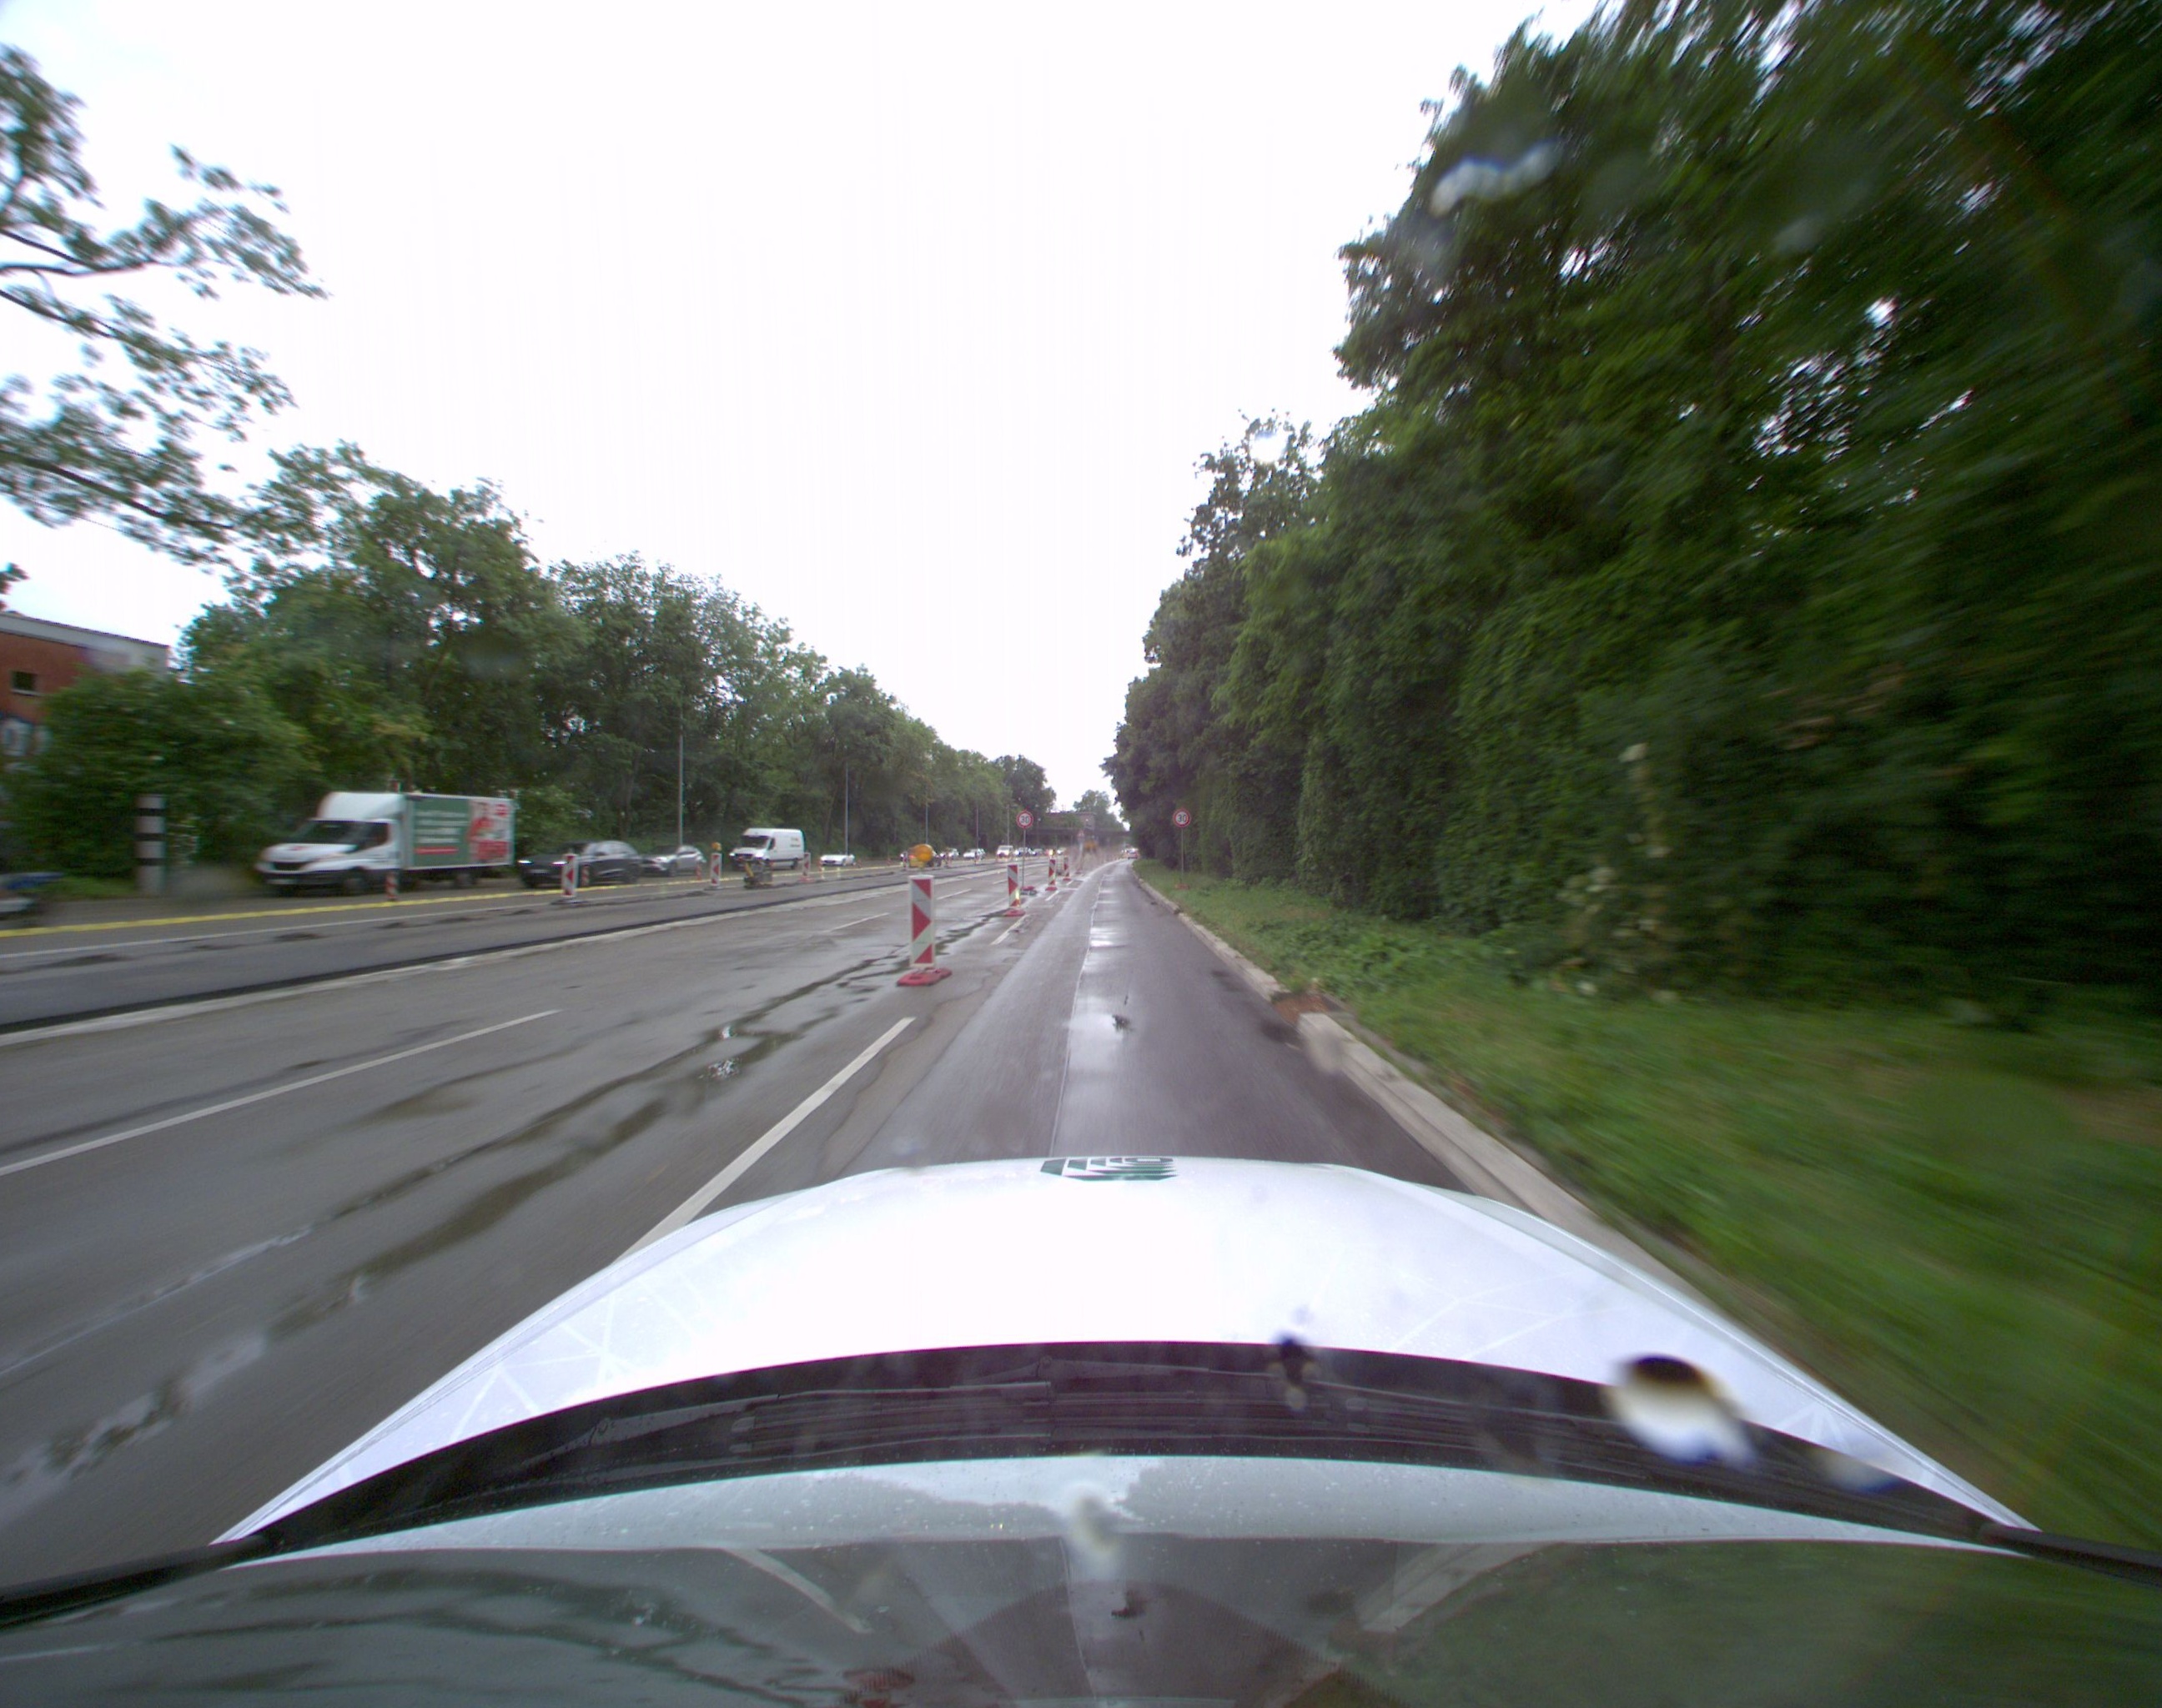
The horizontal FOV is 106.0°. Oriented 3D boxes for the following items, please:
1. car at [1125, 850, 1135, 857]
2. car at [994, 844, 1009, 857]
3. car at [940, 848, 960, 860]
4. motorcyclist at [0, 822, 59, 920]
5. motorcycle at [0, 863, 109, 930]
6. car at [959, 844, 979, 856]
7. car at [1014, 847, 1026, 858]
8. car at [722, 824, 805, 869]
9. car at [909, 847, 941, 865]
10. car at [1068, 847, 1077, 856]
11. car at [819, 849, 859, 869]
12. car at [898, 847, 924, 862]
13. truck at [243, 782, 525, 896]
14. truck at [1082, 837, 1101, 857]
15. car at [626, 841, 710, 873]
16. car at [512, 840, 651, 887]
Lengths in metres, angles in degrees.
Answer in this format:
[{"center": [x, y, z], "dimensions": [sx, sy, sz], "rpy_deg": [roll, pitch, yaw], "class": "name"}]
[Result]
[{"center": [9.438, -0.137, 156.273], "dimensions": [1.691, 1.336, 3.493], "rpy_deg": [-2, 0, 2], "class": "car"}, {"center": [-11.986, -0.546, 123.444], "dimensions": [1.663, 1.808, 4.323], "rpy_deg": [0, 0, 3], "class": "car"}, {"center": [-16.409, -0.054, 101.917], "dimensions": [1.663, 1.485, 4.052], "rpy_deg": [0, 0, 3], "class": "car"}, {"center": [-17.601, 0.263, 13.213], "dimensions": [0.825, 1.564, 0.927], "rpy_deg": [1, 0, 1], "class": "motorcyclist"}, {"center": [-17.608, 0.688, 13.189], "dimensions": [0.825, 1.014, 2.368], "rpy_deg": [1, 0, 2], "class": "motorcycle"}, {"center": [-13.620, -0.510, 99.234], "dimensions": [1.663, 1.485, 4.323], "rpy_deg": [0, 0, 3], "class": "car"}, {"center": [-10.553, -0.322, 141.441], "dimensions": [1.663, 1.808, 4.323], "rpy_deg": [0, 0, 3], "class": "car"}, {"center": [-19.246, -0.451, 49.807], "dimensions": [2.091, 2.579, 6.859], "rpy_deg": [0, 0, 3], "class": "car"}, {"center": [-12.570, 0.111, 65.931], "dimensions": [1.601, 1.404, 4.044], "rpy_deg": [0, 0, 3], "class": "car"}, {"center": [-1.719, -0.582, 172.384], "dimensions": [1.663, 1.808, 4.324], "rpy_deg": [0, 2, 3], "class": "car"}, {"center": [-18.713, 0.331, 63.150], "dimensions": [1.663, 1.485, 4.323], "rpy_deg": [0, 0, 3], "class": "car"}, {"center": [-17.935, 0.029, 86.031], "dimensions": [1.663, 1.485, 4.323], "rpy_deg": [0, 0, 3], "class": "car"}, {"center": [-20.312, -0.421, 24.425], "dimensions": [2.236, 2.940, 6.940], "rpy_deg": [0, 0, 3], "class": "truck"}, {"center": [2.068, -1.216, 149.979], "dimensions": [3.247, 3.497, 13.876], "rpy_deg": [0, 0, 2], "class": "truck"}, {"center": [-19.698, 0.120, 39.061], "dimensions": [1.663, 1.485, 4.323], "rpy_deg": [0, 0, 3], "class": "car"}, {"center": [-17.299, 0.281, 28.512], "dimensions": [1.952, 1.531, 4.440], "rpy_deg": [0, 0, 3], "class": "car"}]
